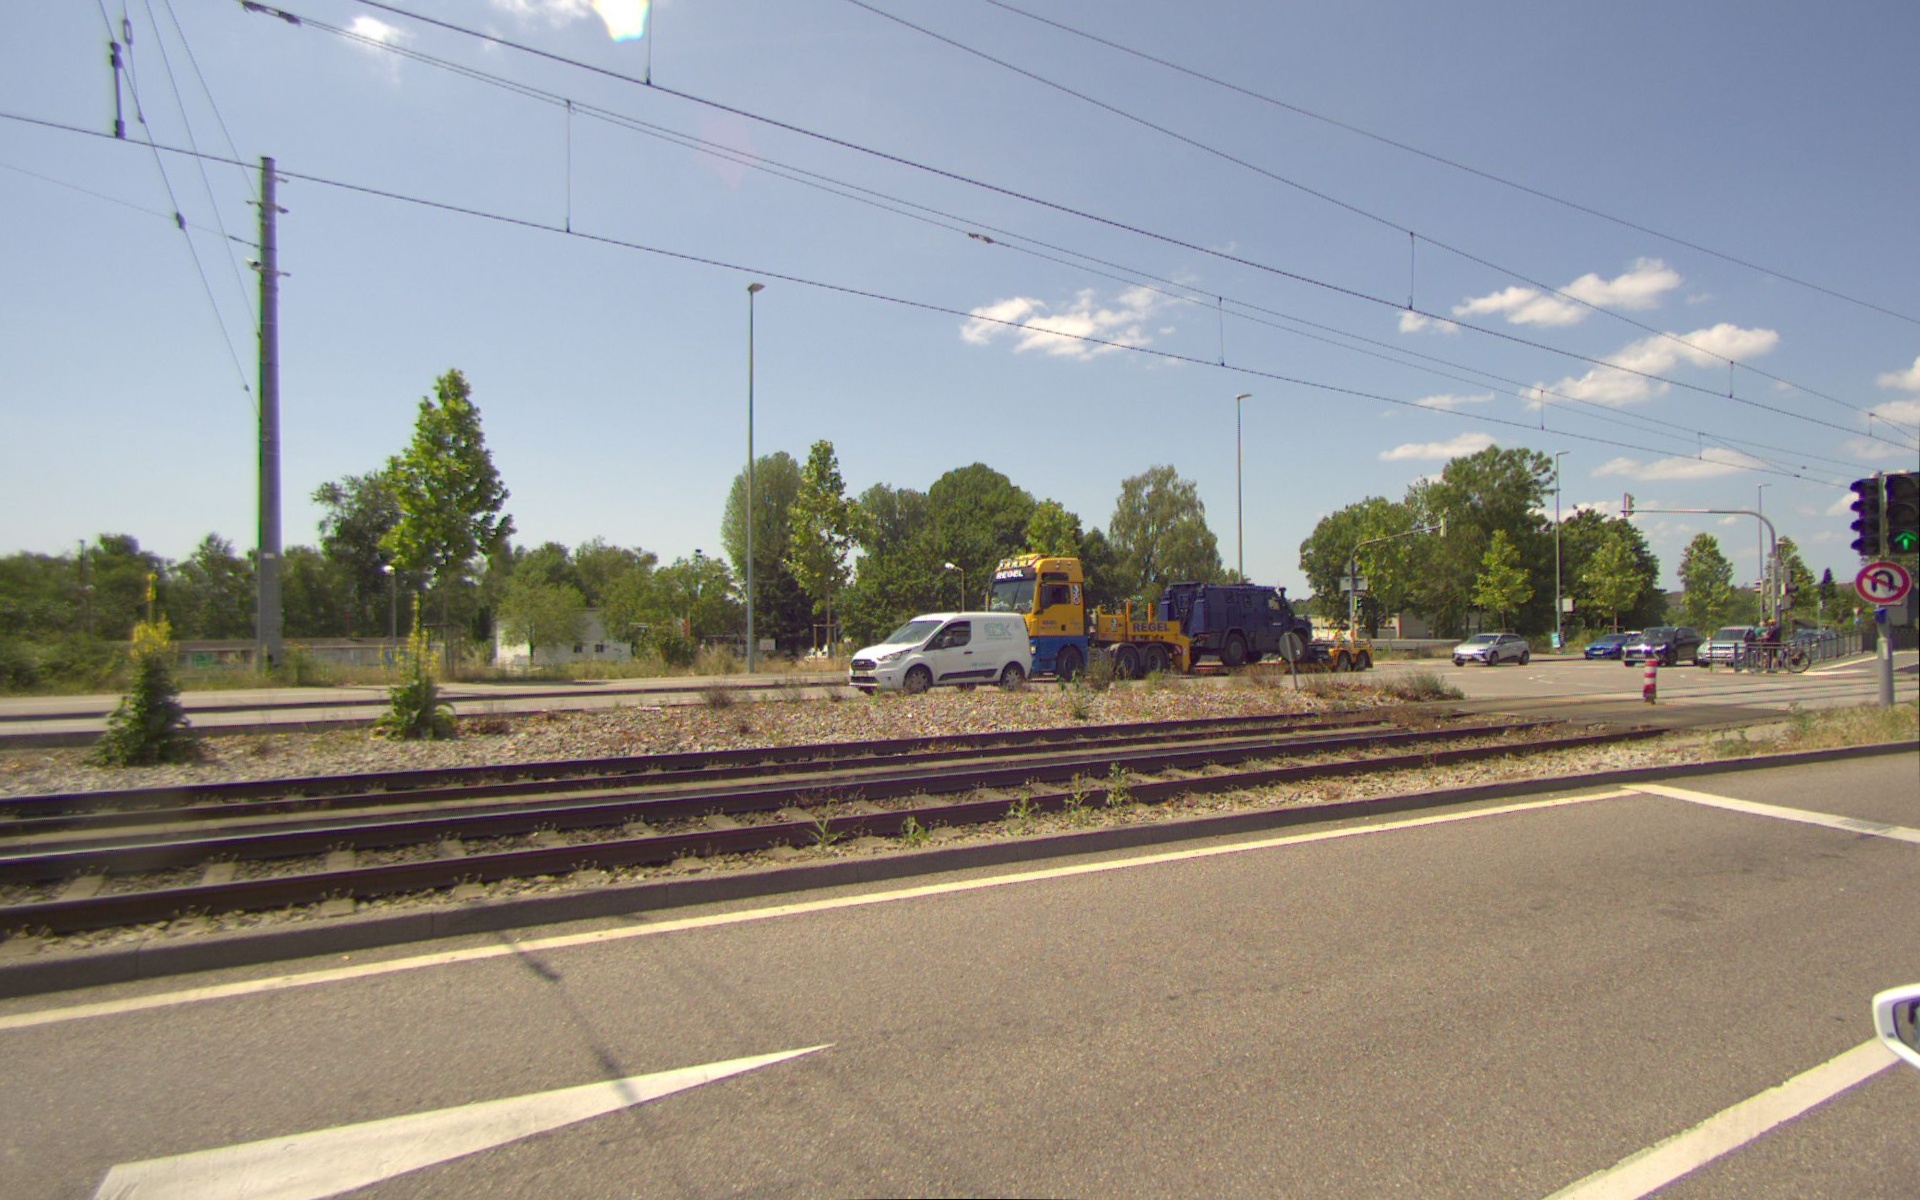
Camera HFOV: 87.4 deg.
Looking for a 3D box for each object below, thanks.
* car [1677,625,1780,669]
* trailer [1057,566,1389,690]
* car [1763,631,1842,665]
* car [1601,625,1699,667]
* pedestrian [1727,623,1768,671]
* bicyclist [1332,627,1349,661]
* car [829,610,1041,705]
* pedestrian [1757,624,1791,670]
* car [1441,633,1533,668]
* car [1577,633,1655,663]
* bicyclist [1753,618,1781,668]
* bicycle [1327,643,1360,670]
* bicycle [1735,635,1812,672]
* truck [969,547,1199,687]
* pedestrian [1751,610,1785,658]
[{"bbox_3d":[31.116,1.880,40.656,3.954,1.650,1.983,1,0,-31],"label":"car"},{"bbox_3d":[10.353,0.985,37.442,15.337,3.922,3.092,1,0,-37],"label":"trailer"},{"bbox_3d":[43.948,2.490,52.380,3.954,1.650,1.983,1,0,-31],"label":"car"},{"bbox_3d":[29.289,1.909,42.626,3.954,1.650,1.983,1,-1,-31],"label":"car"},{"bbox_3d":[27.513,1.639,35.105,0.756,1.631,0.950,0,-1,-34],"label":"pedestrian"},{"bbox_3d":[18.337,2.117,48.375,0.537,1.631,0.584,0,0,-25],"label":"bicyclist"},{"bbox_3d":[-0.480,1.199,22.154,4.396,1.863,1.977,1,0,-40],"label":"car"},{"bbox_3d":[28.543,1.624,35.225,0.756,1.569,0.757,0,-1,-34],"label":"pedestrian"},{"bbox_3d":[24.525,2.323,46.698,4.232,1.483,1.982,1,0,-32],"label":"car"},{"bbox_3d":[35.480,2.558,54.331,4.303,1.464,1.982,1,0,-33],"label":"car"},{"bbox_3d":[26.955,1.417,33.545,0.657,1.636,0.729,1,0,42],"label":"bicyclist"},{"bbox_3d":[18.391,2.699,48.223,0.582,1.209,1.525,1,0,-24],"label":"bicycle"},{"bbox_3d":[27.070,1.771,33.455,1.950,1.115,0.760,1,0,43],"label":"bicycle"},{"bbox_3d":[4.165,0.542,32.776,7.405,4.093,3.103,1,0,-37],"label":"truck"},{"bbox_3d":[29.400,1.226,36.550,0.756,1.694,0.757,0,-1,-34],"label":"pedestrian"}]
